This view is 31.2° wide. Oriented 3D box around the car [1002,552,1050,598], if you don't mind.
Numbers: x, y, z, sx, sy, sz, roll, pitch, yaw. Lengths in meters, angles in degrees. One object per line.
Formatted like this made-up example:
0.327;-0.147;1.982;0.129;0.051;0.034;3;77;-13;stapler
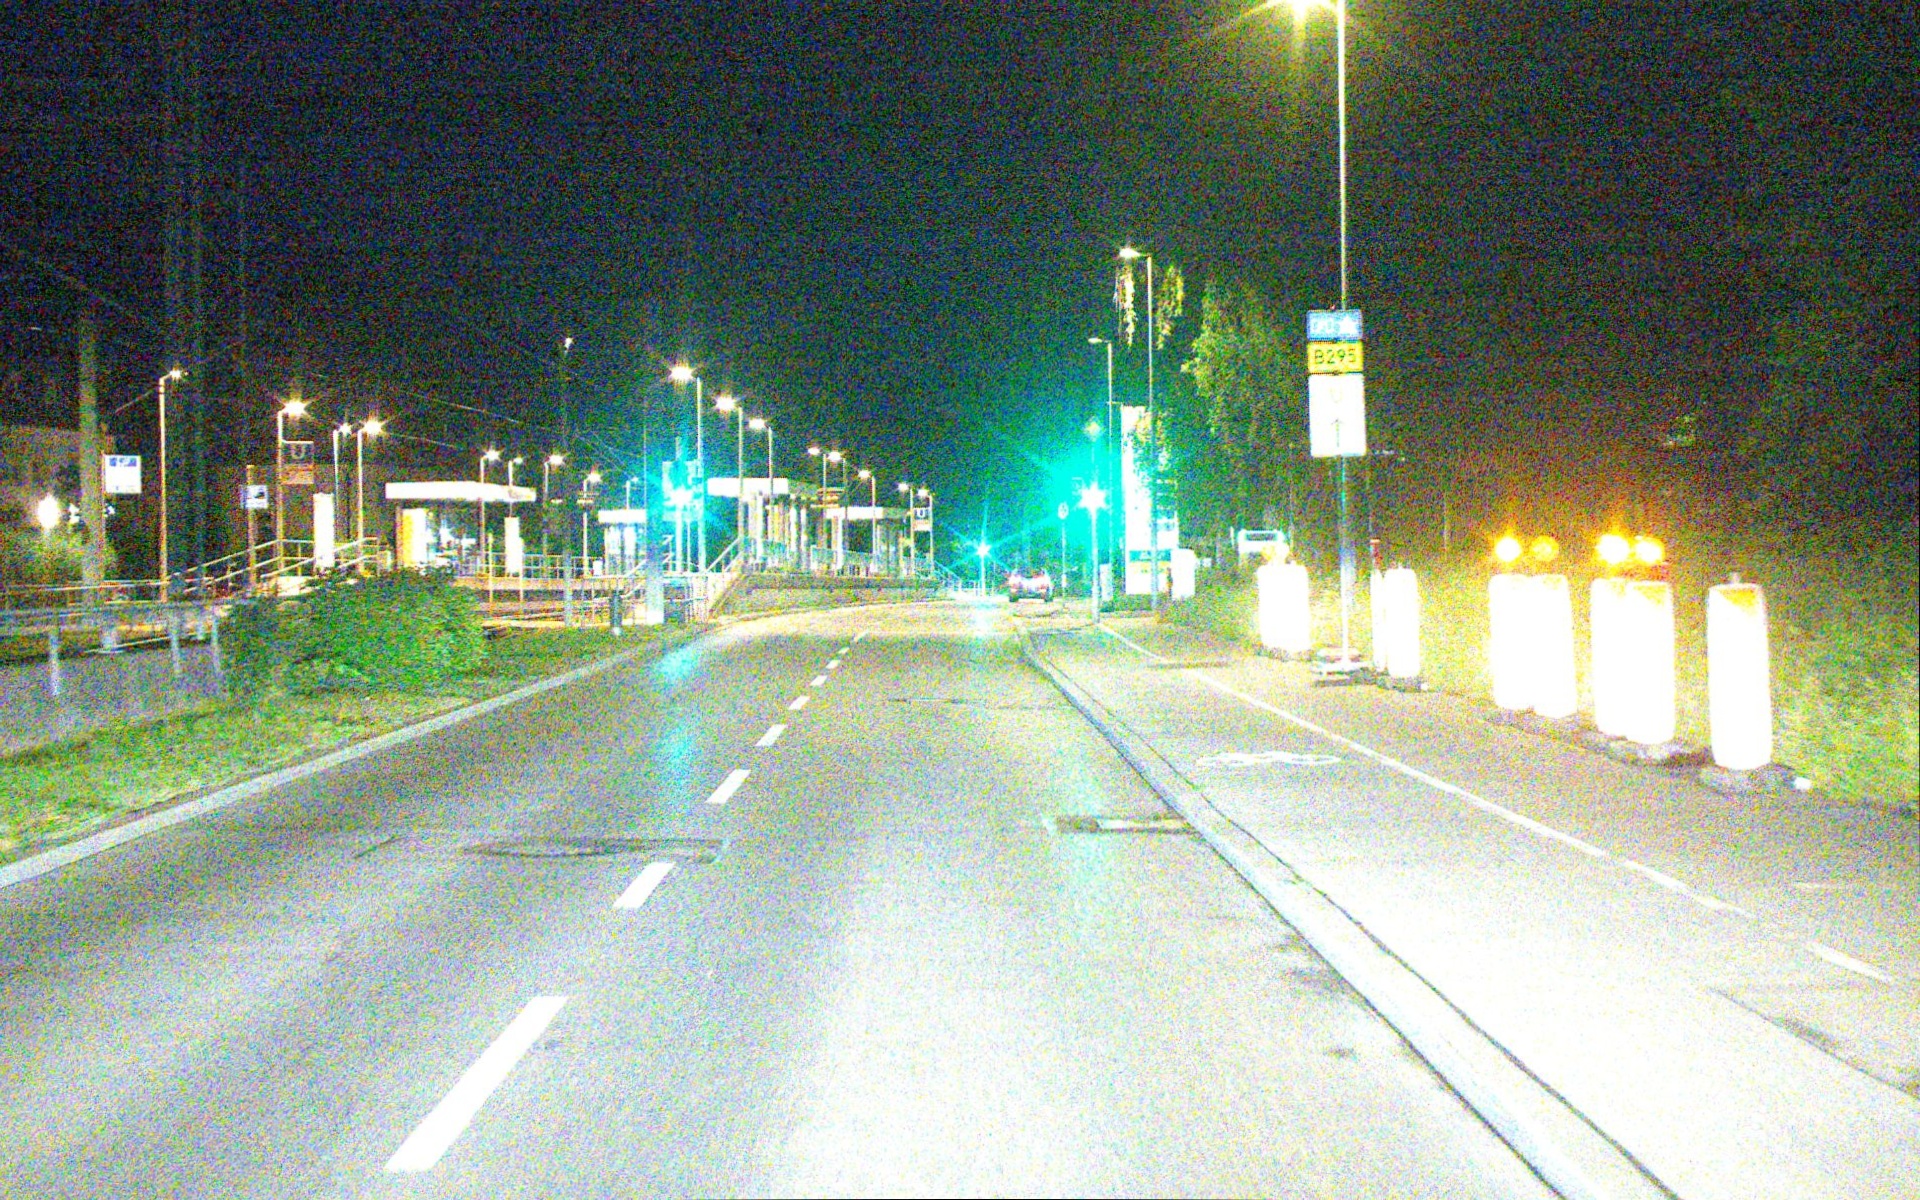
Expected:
2.943;-1.124;154.334;2.087;2.007;4.000;-1;1;1;car
